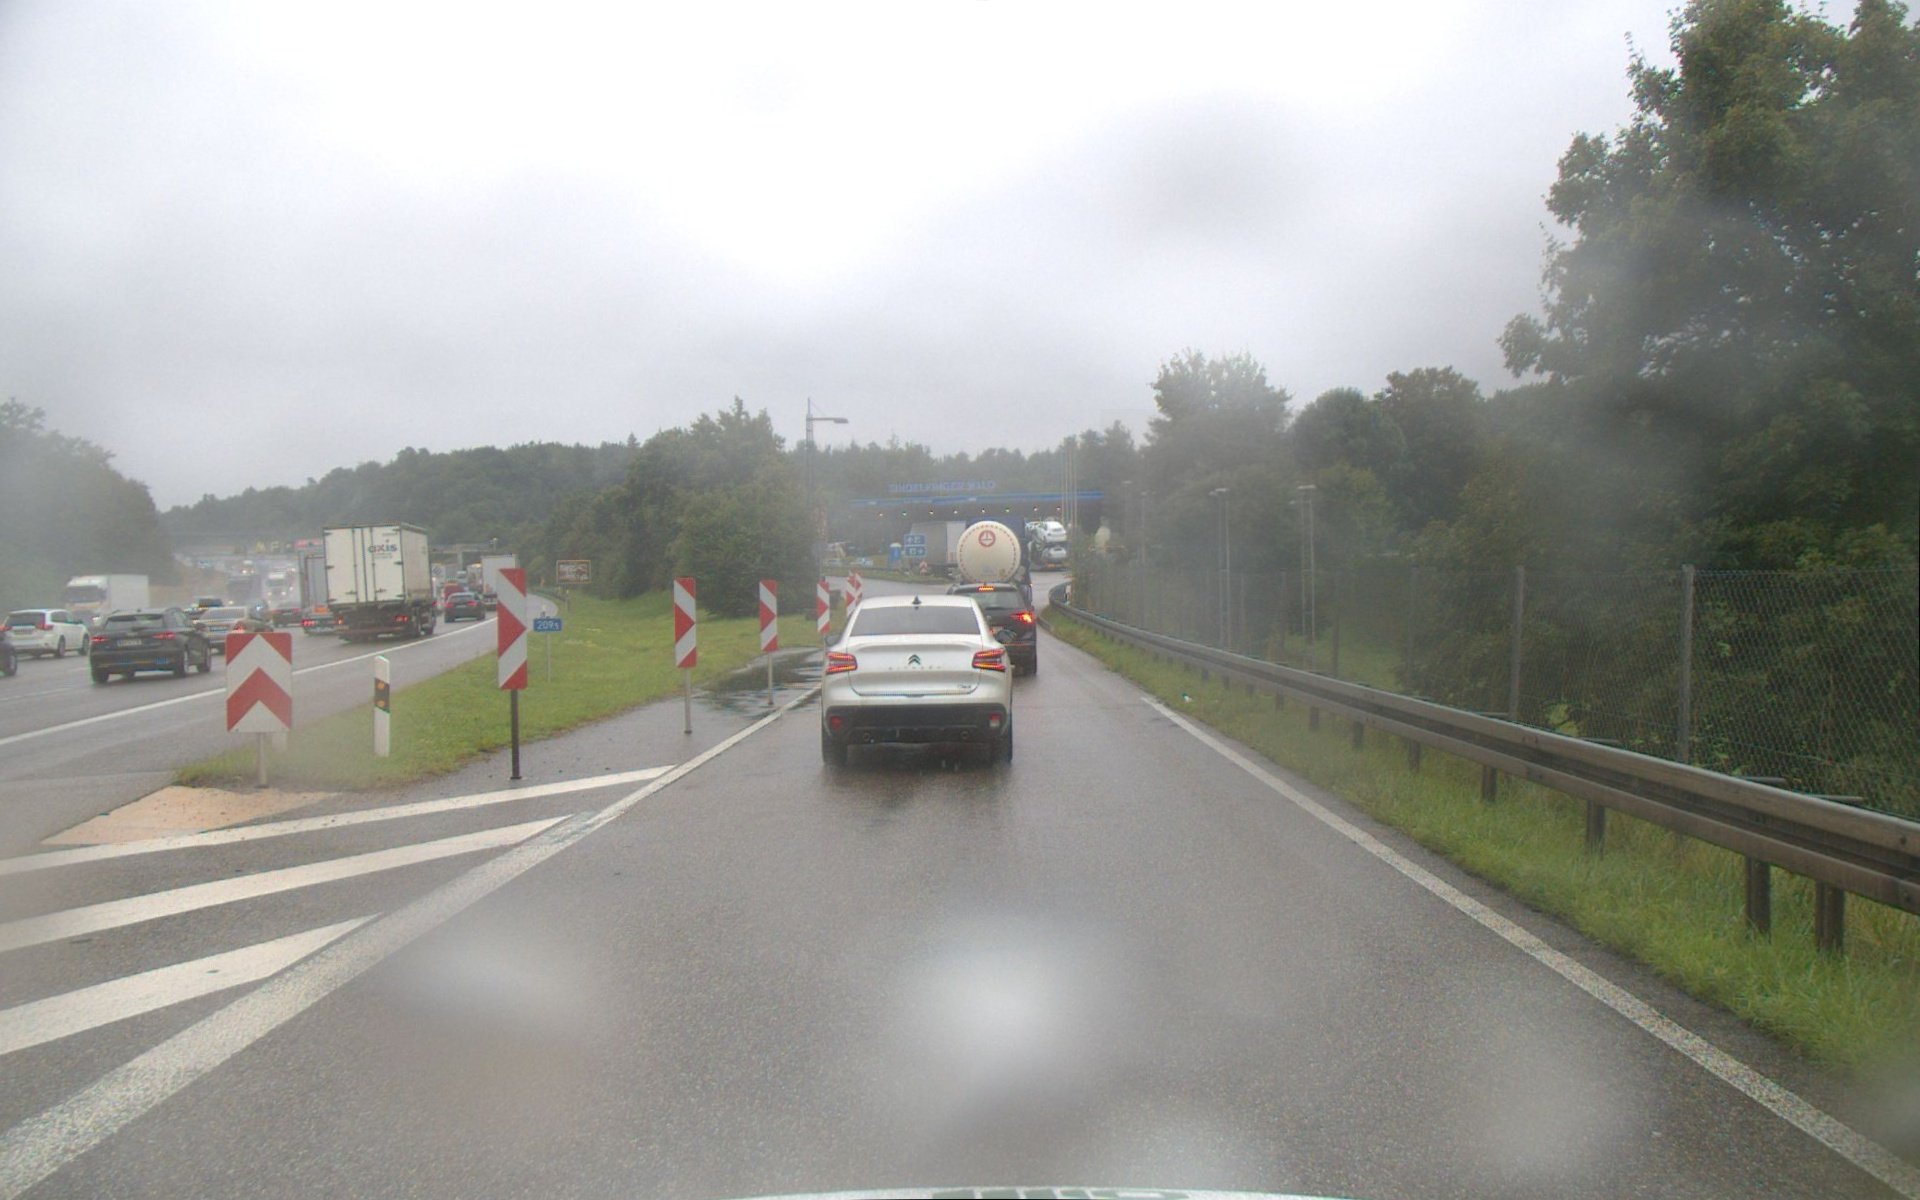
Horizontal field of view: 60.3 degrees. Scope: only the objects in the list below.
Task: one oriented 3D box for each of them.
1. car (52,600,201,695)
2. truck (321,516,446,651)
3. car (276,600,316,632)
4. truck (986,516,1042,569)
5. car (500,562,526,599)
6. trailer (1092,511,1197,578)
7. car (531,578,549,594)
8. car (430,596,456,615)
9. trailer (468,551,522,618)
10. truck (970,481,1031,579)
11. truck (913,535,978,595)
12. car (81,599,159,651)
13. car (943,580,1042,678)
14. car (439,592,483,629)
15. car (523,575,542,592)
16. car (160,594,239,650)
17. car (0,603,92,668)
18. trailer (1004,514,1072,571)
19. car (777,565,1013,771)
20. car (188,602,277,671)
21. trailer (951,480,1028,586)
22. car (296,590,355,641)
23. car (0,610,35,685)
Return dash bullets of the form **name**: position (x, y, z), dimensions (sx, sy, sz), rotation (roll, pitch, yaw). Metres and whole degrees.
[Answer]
- **car**: position (-17.257, 0.925, 34.422), dimensions (1.745, 1.766, 3.835), rotation (-3, 1, -12)
- **truck**: position (-20.889, -0.543, 60.605), dimensions (2.800, 4.367, 11.804), rotation (-2, 0, -13)
- **car**: position (-40.199, 0.939, 100.142), dimensions (1.669, 1.818, 3.771), rotation (-3, 1, -14)
- **truck**: position (4.545, -4.911, 140.611), dimensions (3.174, 4.261, 8.428), rotation (-1, 2, -9)
- **car**: position (-44.821, -1.938, 165.765), dimensions (2.335, 3.546, 4.792), rotation (1, 0, -17)
- **trailer**: position (10.525, -3.189, 93.059), dimensions (2.090, 3.500, 10.241), rotation (-1, 2, 28)
- **car**: position (-55.807, -1.845, 219.629), dimensions (1.963, 2.049, 3.978), rotation (1, 0, -19)
- **car**: position (-48.538, 0.528, 155.317), dimensions (1.959, 1.778, 3.986), rotation (1, 0, -13)
- **trailer**: position (-35.259, -1.127, 125.651), dimensions (3.490, 4.692, 12.069), rotation (-3, 1, -15)
- **truck**: position (1.598, -2.680, 63.809), dimensions (2.009, 3.592, 4.750), rotation (-2, 2, 5)
- **truck**: position (-1.172, -2.564, 118.571), dimensions (2.328, 3.940, 12.423), rotation (-3, 2, -11)
- **car**: position (-36.029, 1.051, 71.013), dimensions (1.959, 2.048, 3.987), rotation (-3, 1, -13)
- **car**: position (0.565, 0.497, 30.835), dimensions (1.707, 1.696, 4.000), rotation (0, 0, 0)
- **car**: position (-26.776, 0.536, 88.842), dimensions (1.959, 1.847, 3.987), rotation (-2, 1, -13)
- **car**: position (-51.793, -1.987, 200.244), dimensions (1.963, 2.049, 3.978), rotation (1, 0, -19)
- **car**: position (-30.016, 0.826, 65.370), dimensions (1.959, 2.048, 3.987), rotation (-2, 1, -13)
- **car**: position (-31.611, 1.191, 56.971), dimensions (1.959, 2.048, 3.987), rotation (-3, 1, -12)
- **trailer**: position (6.049, -4.561, 130.731), dimensions (3.156, 4.261, 11.508), rotation (-1, 2, -9)
- **car**: position (-0.593, 0.553, 15.838), dimensions (1.953, 1.708, 3.999), rotation (1, 0, -2)
- **car**: position (-22.942, 1.113, 52.316), dimensions (1.758, 2.005, 4.319), rotation (-2, 0, -13)
- **trailer**: position (1.142, -2.298, 57.342), dimensions (1.938, 3.280, 10.329), rotation (-2, 2, 4)
- **car**: position (-27.827, 0.667, 72.656), dimensions (1.961, 2.048, 3.983), rotation (-3, 1, -16)
- **car**: position (-23.823, 1.186, 39.513), dimensions (1.744, 1.766, 4.088), rotation (-2, 1, -11)
